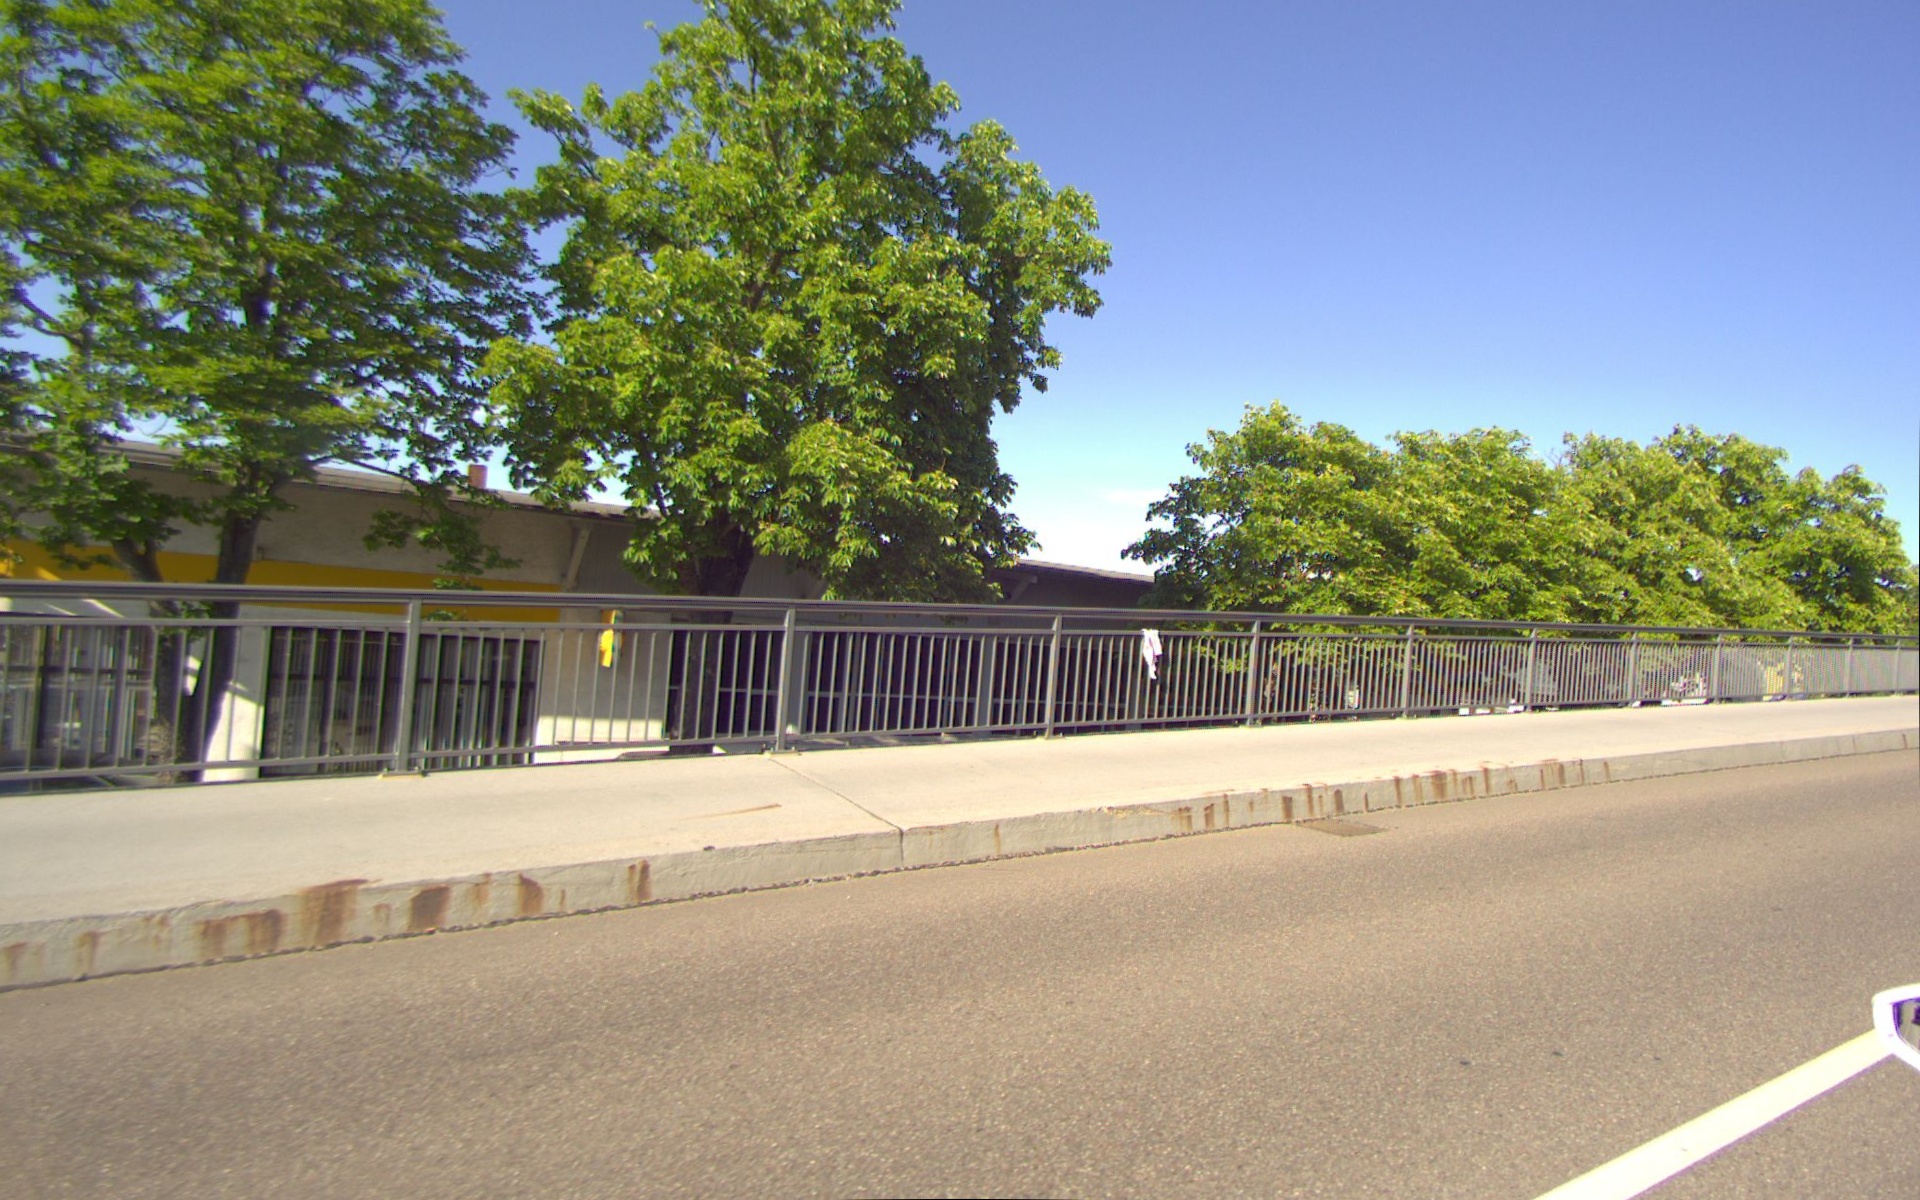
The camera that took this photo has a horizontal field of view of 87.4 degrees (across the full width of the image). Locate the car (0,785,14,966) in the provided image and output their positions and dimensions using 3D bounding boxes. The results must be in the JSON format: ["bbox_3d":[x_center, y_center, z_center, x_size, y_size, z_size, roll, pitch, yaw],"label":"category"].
[{"bbox_3d":[-11.321,2.776,8.576,4.202,2.017,1.917,5,-1,-26],"label":"car"}]
